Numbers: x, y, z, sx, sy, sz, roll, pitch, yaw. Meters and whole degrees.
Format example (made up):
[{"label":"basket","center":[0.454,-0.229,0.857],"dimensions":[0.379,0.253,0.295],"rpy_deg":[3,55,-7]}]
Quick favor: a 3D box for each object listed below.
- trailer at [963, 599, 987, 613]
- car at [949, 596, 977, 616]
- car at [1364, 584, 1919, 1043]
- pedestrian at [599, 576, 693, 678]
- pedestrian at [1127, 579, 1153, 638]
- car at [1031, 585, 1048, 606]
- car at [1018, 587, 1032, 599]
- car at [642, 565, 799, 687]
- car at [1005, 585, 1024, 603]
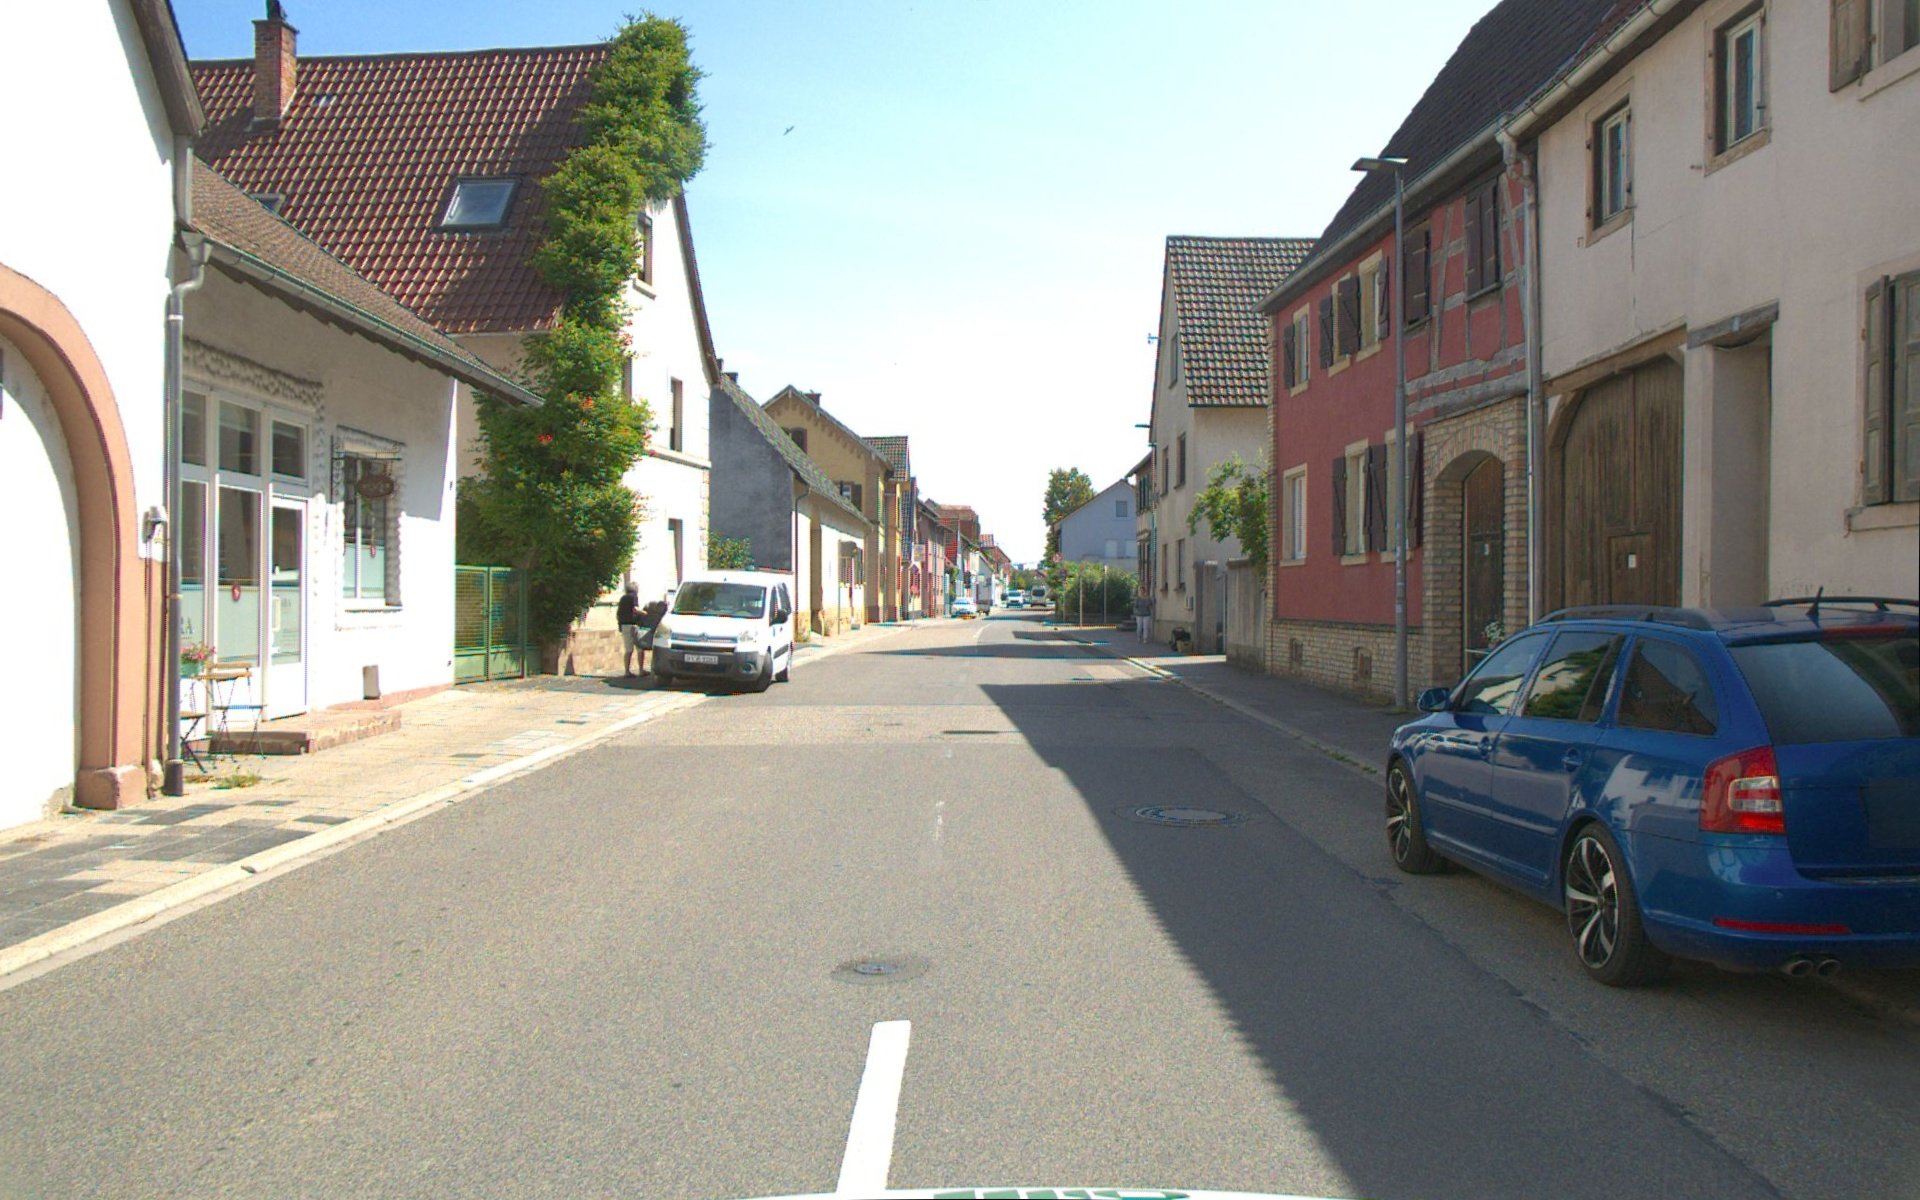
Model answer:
[{"label":"trailer","center":[1.274,0.476,137.532],"dimensions":[1.952,1.109,4.000],"rpy_deg":[0,0,0]},{"label":"car","center":[0.232,0.439,120.773],"dimensions":[1.952,1.467,4.001],"rpy_deg":[0,0,2]},{"label":"car","center":[3.329,0.693,7.708],"dimensions":[1.664,1.495,4.408],"rpy_deg":[-1,0,-2]},{"label":"pedestrian","center":[-4.995,0.413,26.321],"dimensions":[1.129,1.579,1.002],"rpy_deg":[1,0,-40]},{"label":"pedestrian","center":[5.212,0.246,47.935],"dimensions":[0.703,1.693,0.893],"rpy_deg":[0,0,5]},{"label":"car","center":[9.846,-0.556,205.781],"dimensions":[1.976,2.612,4.000],"rpy_deg":[0,0,1]},{"label":"car","center":[9.894,-1.062,251.939],"dimensions":[1.952,1.780,4.001],"rpy_deg":[1,0,2]},{"label":"car","center":[-3.665,0.361,26.023],"dimensions":[1.817,1.676,4.429],"rpy_deg":[2,0,-1]},{"label":"car","center":[6.559,-0.709,198.920],"dimensions":[2.113,2.116,4.000],"rpy_deg":[0,-2,0]}]
